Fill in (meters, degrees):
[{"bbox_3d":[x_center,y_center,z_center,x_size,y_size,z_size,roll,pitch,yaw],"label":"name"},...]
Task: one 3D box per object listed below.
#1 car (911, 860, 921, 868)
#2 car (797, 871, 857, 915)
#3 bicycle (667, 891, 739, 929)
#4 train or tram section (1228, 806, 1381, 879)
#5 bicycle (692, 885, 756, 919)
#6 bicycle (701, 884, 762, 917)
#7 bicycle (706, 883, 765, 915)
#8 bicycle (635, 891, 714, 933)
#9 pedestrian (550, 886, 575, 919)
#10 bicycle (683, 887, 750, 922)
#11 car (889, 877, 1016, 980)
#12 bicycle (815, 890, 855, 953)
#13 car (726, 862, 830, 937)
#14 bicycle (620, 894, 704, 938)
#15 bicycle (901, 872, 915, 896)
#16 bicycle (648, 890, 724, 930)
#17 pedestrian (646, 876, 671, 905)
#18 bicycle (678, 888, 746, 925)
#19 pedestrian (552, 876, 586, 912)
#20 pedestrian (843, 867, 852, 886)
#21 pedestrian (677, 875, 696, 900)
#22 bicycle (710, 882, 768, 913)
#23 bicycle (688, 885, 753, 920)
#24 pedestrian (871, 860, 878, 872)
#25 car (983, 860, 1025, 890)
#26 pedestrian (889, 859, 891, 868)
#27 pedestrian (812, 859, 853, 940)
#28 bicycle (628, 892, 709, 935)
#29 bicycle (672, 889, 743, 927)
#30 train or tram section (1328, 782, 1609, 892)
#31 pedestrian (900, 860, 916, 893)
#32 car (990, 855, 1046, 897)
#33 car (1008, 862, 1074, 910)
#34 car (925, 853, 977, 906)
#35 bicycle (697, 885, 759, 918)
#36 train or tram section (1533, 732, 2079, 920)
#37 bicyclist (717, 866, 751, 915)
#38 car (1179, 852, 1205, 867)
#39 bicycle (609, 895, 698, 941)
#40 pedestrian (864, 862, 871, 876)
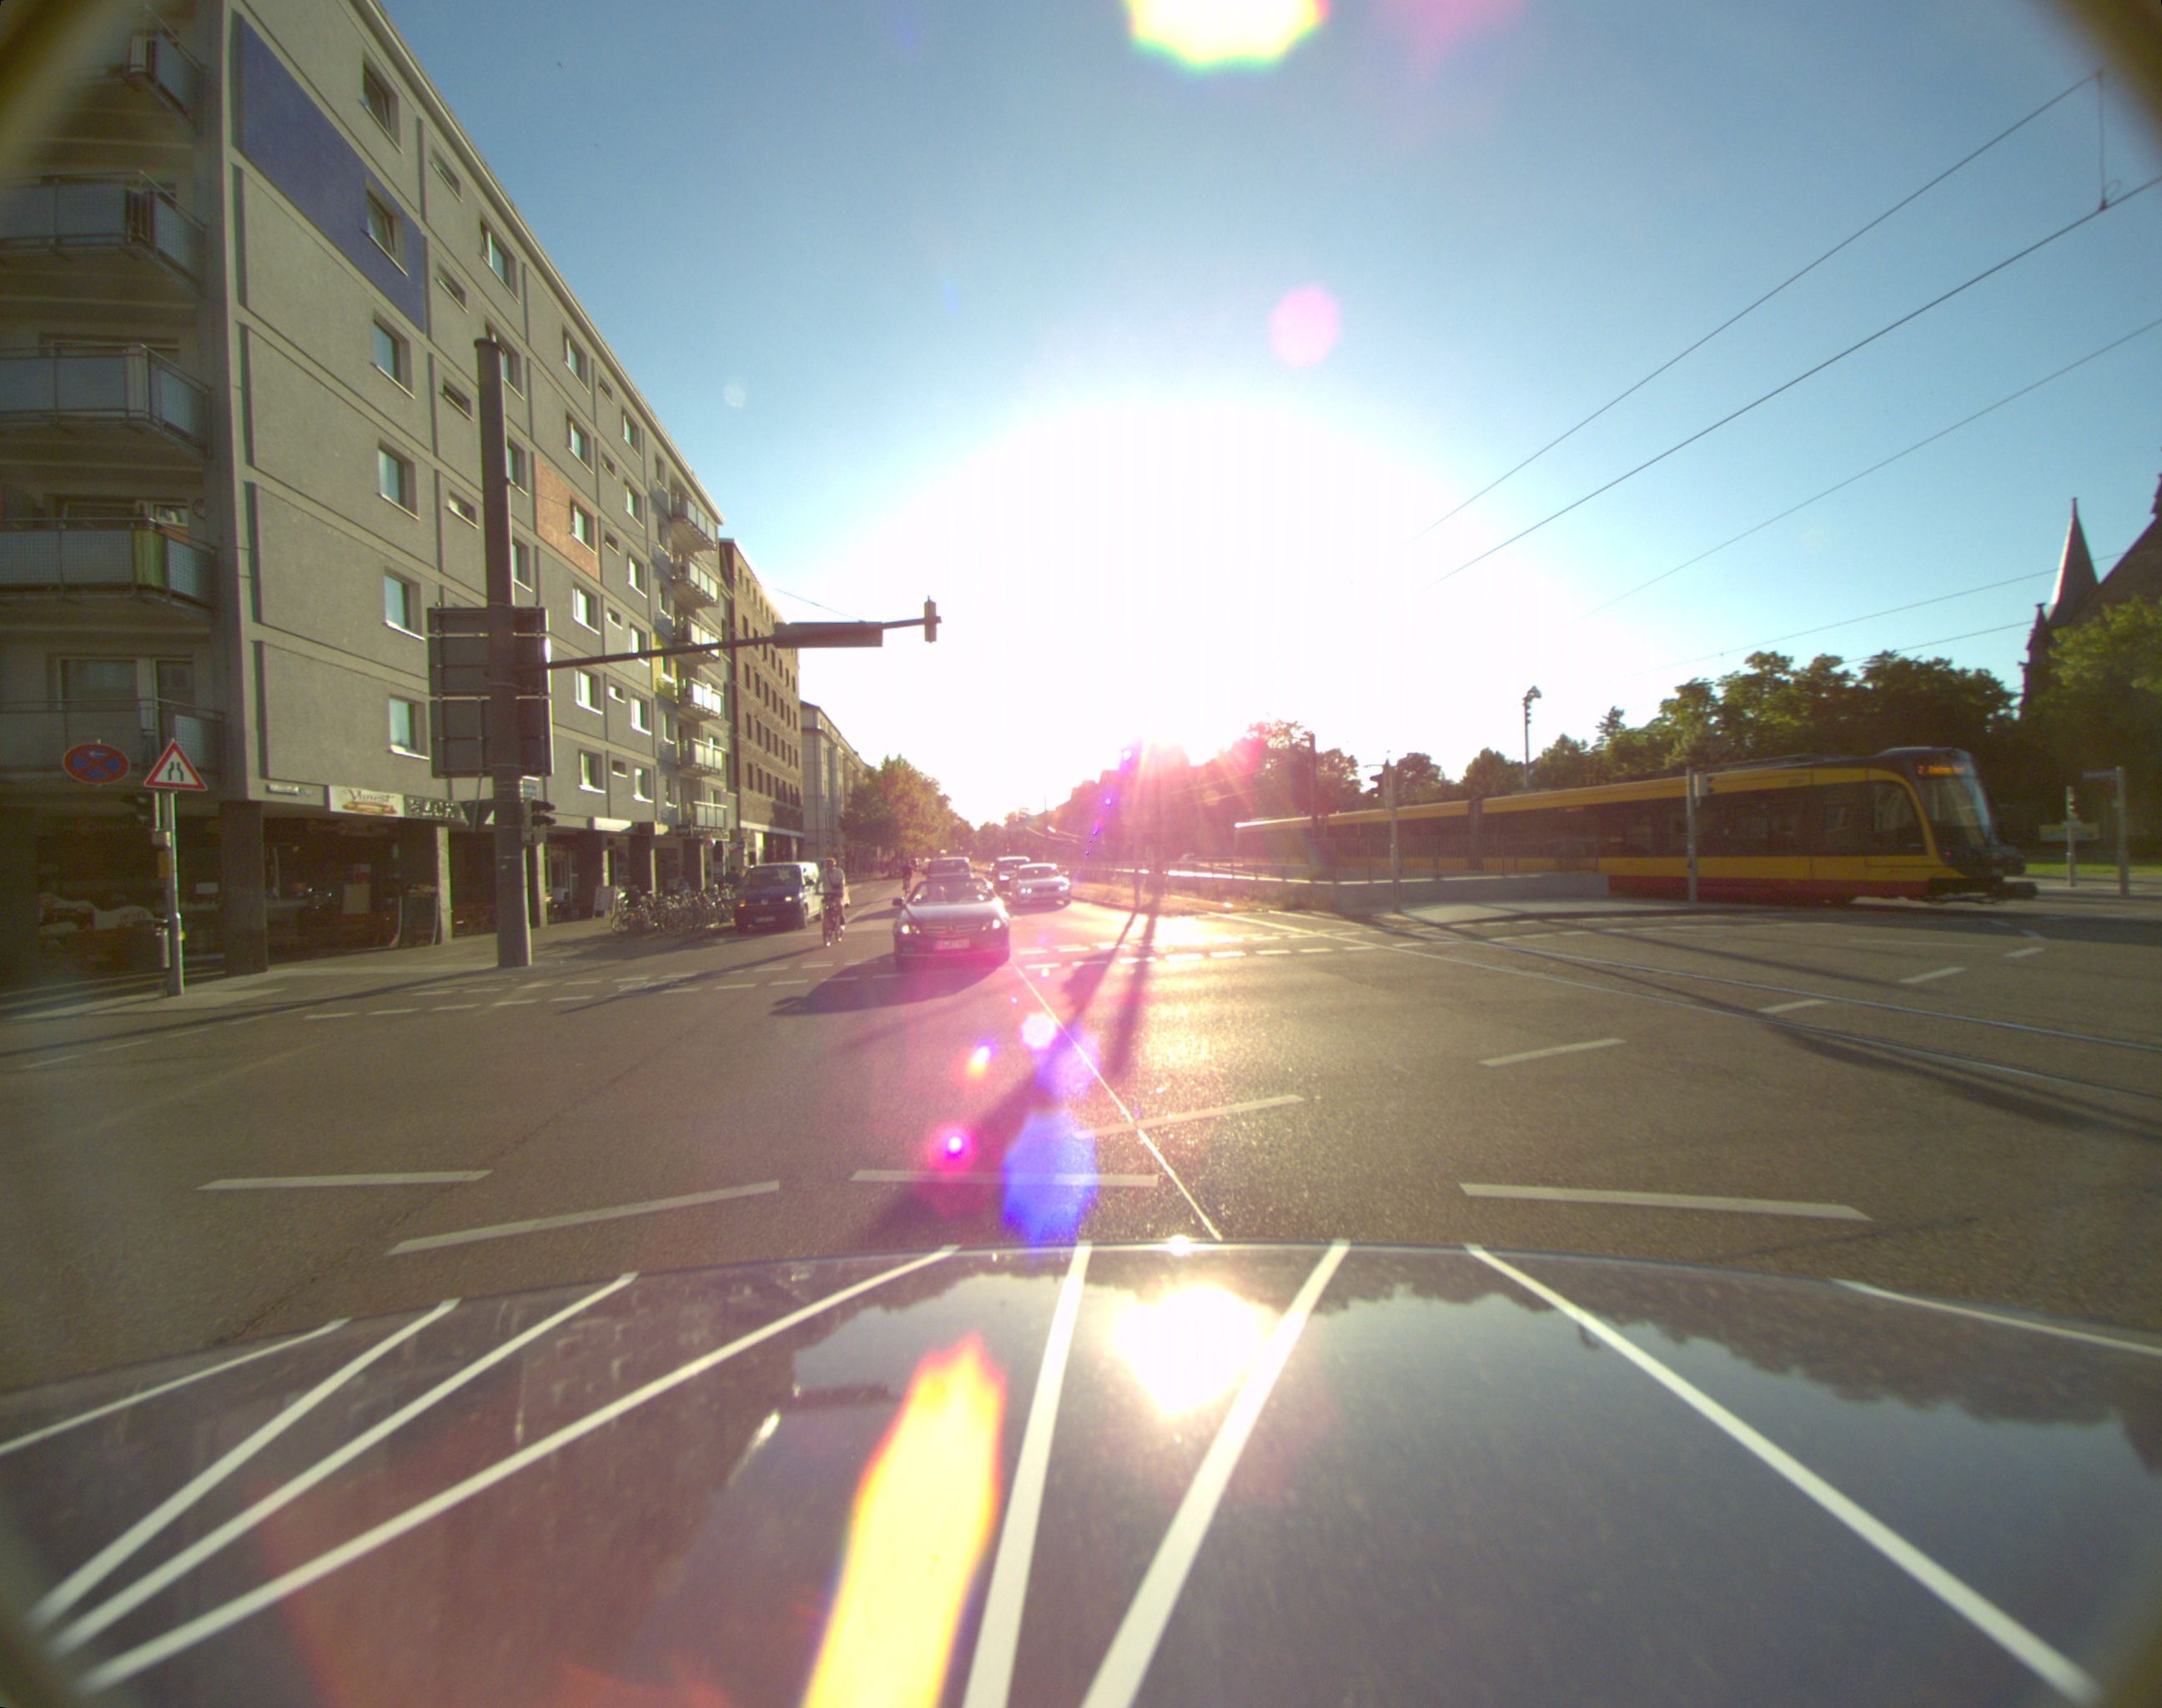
[{"bbox_3d":[-33.922,2.055,156.501,1.776,1.474,4.305,-2,0,-10],"label":"car"},{"bbox_3d":[-10.195,1.515,30.754,1.688,1.472,3.536,-4,1,-10],"label":"car"},{"bbox_3d":[-11.468,1.682,23.095,1.874,1.119,0.567,1,0,-14],"label":"bicycle"},{"bbox_3d":[12.455,-0.578,44.410,2.782,3.515,13.238,-2,0,-11],"label":"train or tram section"},{"bbox_3d":[-12.134,1.626,25.881,1.874,1.119,0.567,1,0,-14],"label":"bicycle"},{"bbox_3d":[-12.399,1.639,26.991,1.874,1.119,0.567,1,0,-14],"label":"bicycle"},{"bbox_3d":[-12.519,1.623,27.558,1.874,1.119,0.567,1,0,-14],"label":"bicycle"},{"bbox_3d":[-11.533,1.635,21.601,1.874,1.119,0.567,1,0,-14],"label":"bicycle"},{"bbox_3d":[-18.438,1.721,27.034,0.648,1.093,0.543,-3,1,-32],"label":"pedestrian"},{"bbox_3d":[-11.872,1.638,24.767,1.874,1.119,0.567,1,0,-14],"label":"bicycle"},{"bbox_3d":[-2.266,1.139,13.194,1.777,1.300,4.236,-2,0,-11],"label":"car"},{"bbox_3d":[-5.294,1.421,16.433,0.530,1.152,1.847,-3,1,-10],"label":"bicycle"},{"bbox_3d":[-9.046,1.249,23.122,1.943,1.922,4.827,-2,0,-10],"label":"car"},{"bbox_3d":[-11.256,1.650,20.441,1.874,1.119,0.606,1,0,-14],"label":"bicycle"},{"bbox_3d":[-8.992,1.566,39.570,0.530,1.152,1.847,-3,1,-9],"label":"bicycle"},{"bbox_3d":[-11.602,1.643,22.371,1.874,1.119,0.567,1,0,-14],"label":"bicycle"},{"bbox_3d":[-19.415,1.661,34.893,0.647,1.287,0.953,-2,1,-8],"label":"pedestrian"},{"bbox_3d":[-11.737,1.662,24.211,1.874,1.119,0.567,1,0,-14],"label":"bicycle"},{"bbox_3d":[-18.742,1.459,27.825,0.858,1.266,0.648,-2,1,27],"label":"pedestrian"},{"bbox_3d":[-20.057,1.969,65.292,0.603,1.587,0.883,-2,1,-11],"label":"pedestrian"},{"bbox_3d":[-19.179,1.607,36.954,0.606,1.145,0.727,-2,1,-11],"label":"pedestrian"},{"bbox_3d":[-12.651,1.595,28.110,1.874,1.119,0.567,1,0,-14],"label":"bicycle"},{"bbox_3d":[-12.005,1.620,25.323,1.874,1.119,0.567,1,0,-14],"label":"bicycle"},{"bbox_3d":[-24.996,1.420,92.083,0.728,1.431,0.923,-3,1,-11],"label":"pedestrian"},{"bbox_3d":[-4.243,1.107,41.414,1.817,1.393,3.915,-4,1,-10],"label":"car"},{"bbox_3d":[-30.596,1.595,121.741,0.311,1.431,0.357,-2,1,-3],"label":"pedestrian"},{"bbox_3d":[-5.317,0.956,16.276,0.640,1.639,0.842,-3,1,-11],"label":"pedestrian"},{"bbox_3d":[-11.389,1.631,21.023,1.874,1.119,0.567,1,0,-14],"label":"bicycle"},{"bbox_3d":[-11.604,1.665,23.652,1.874,1.119,0.567,1,0,-14],"label":"bicycle"},{"bbox_3d":[14.872,-0.573,31.422,2.782,3.515,13.238,-2,0,-11],"label":"train or tram section"},{"bbox_3d":[-8.983,1.168,39.534,0.679,1.639,0.901,-3,1,-9],"label":"pedestrian"},{"bbox_3d":[-2.990,0.955,35.298,1.957,1.702,4.846,-4,1,-11],"label":"car"},{"bbox_3d":[-1.540,1.084,27.546,1.843,1.393,4.580,-4,1,-9],"label":"car"},{"bbox_3d":[-5.516,0.991,31.955,1.921,1.978,4.942,-2,0,-11],"label":"car"},{"bbox_3d":[-12.267,1.648,26.437,1.874,1.119,0.567,1,0,-14],"label":"bicycle"},{"bbox_3d":[17.032,-0.555,19.690,2.782,3.515,10.560,-2,0,-11],"label":"train or tram section"},{"bbox_3d":[-13.382,1.395,29.309,0.744,1.797,1.385,-2,1,-7],"label":"bicyclist"},{"bbox_3d":[12.258,0.577,84.106,1.716,1.531,3.670,-2,0,-9],"label":"car"},{"bbox_3d":[-11.093,1.659,19.766,1.874,1.055,0.606,-2,1,-12],"label":"bicycle"},{"bbox_3d":[-25.816,1.816,91.963,0.728,1.666,0.923,-2,1,-11],"label":"pedestrian"}]
